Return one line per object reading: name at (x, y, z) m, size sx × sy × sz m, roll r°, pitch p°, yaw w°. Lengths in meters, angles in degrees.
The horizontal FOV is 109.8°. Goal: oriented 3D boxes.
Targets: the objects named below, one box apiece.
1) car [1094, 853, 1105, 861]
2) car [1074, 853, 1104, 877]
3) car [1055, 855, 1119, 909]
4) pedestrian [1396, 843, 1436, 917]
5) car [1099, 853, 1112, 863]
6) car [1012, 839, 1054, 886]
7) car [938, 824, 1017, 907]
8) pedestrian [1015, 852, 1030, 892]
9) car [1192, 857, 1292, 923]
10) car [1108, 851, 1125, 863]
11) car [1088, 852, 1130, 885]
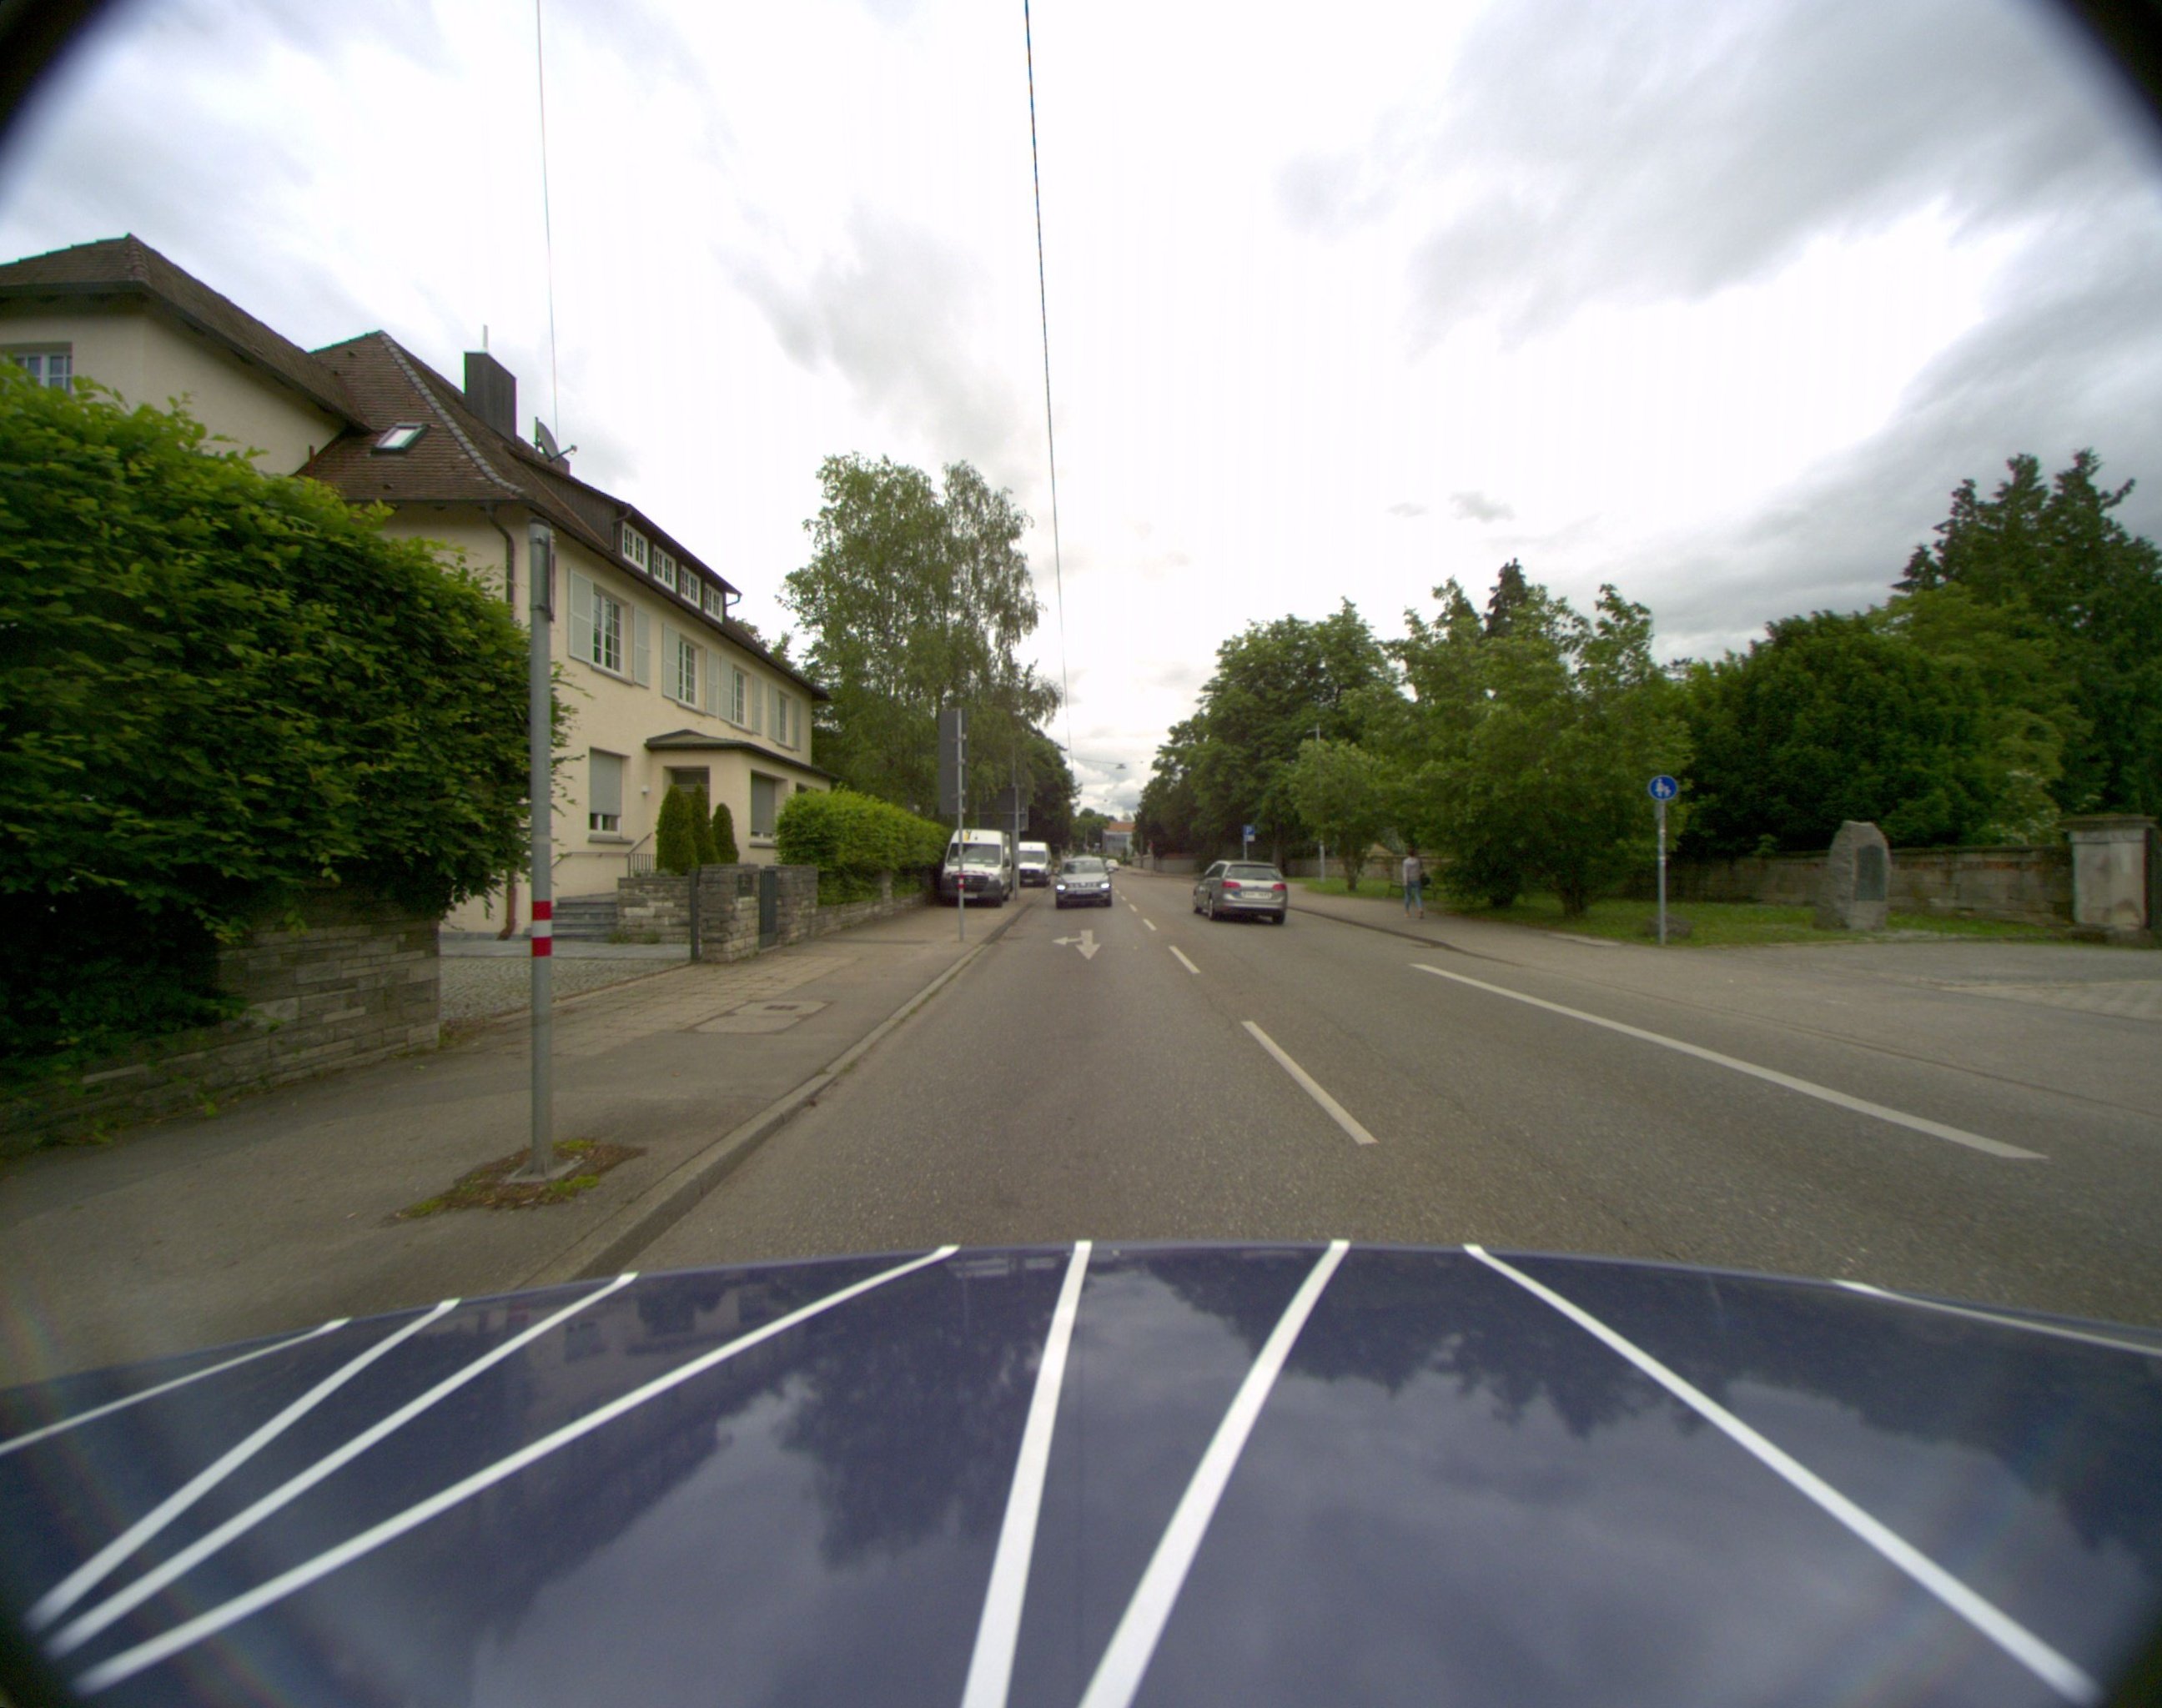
car at (3.614, 0.516, 150.445) m, size 1.913 × 1.484 × 3.999 m, roll 2°, pitch 0°, yaw -2°
car at (0.547, 0.734, 55.182) m, size 1.835 × 1.610 × 4.487 m, roll -2°, pitch 0°, yaw -3°
car at (0.122, 0.869, 25.776) m, size 1.835 × 1.610 × 4.487 m, roll -2°, pitch 0°, yaw -3°
pedestrian at (8.309, 0.628, 18.892) m, size 0.615 × 1.801 × 0.785 m, roll -2°, pitch 1°, yaw 0°
car at (4.102, 0.673, 127.764) m, size 1.913 × 1.484 × 3.999 m, roll 2°, pitch 0°, yaw -2°
car at (-2.748, 0.481, 44.763) m, size 2.046 × 2.588 × 5.966 m, roll 0°, pitch 0°, yaw 0°
car at (-3.513, 0.360, 27.112) m, size 2.095 × 2.589 × 6.680 m, roll 0°, pitch 0°, yaw -2°
pedestrian at (-2.747, 0.838, 35.530) m, size 0.640 × 1.820 × 0.787 m, roll -1°, pitch 1°, yaw -2°
car at (3.872, 0.802, 18.910) m, size 1.729 × 1.454 × 4.154 m, roll 0°, pitch 0°, yaw 2°
car at (4.663, 0.413, 100.816) m, size 1.913 × 1.484 × 3.999 m, roll 2°, pitch 0°, yaw -2°
car at (1.434, 0.741, 40.671) m, size 1.835 × 1.610 × 4.487 m, roll -2°, pitch 0°, yaw -3°
